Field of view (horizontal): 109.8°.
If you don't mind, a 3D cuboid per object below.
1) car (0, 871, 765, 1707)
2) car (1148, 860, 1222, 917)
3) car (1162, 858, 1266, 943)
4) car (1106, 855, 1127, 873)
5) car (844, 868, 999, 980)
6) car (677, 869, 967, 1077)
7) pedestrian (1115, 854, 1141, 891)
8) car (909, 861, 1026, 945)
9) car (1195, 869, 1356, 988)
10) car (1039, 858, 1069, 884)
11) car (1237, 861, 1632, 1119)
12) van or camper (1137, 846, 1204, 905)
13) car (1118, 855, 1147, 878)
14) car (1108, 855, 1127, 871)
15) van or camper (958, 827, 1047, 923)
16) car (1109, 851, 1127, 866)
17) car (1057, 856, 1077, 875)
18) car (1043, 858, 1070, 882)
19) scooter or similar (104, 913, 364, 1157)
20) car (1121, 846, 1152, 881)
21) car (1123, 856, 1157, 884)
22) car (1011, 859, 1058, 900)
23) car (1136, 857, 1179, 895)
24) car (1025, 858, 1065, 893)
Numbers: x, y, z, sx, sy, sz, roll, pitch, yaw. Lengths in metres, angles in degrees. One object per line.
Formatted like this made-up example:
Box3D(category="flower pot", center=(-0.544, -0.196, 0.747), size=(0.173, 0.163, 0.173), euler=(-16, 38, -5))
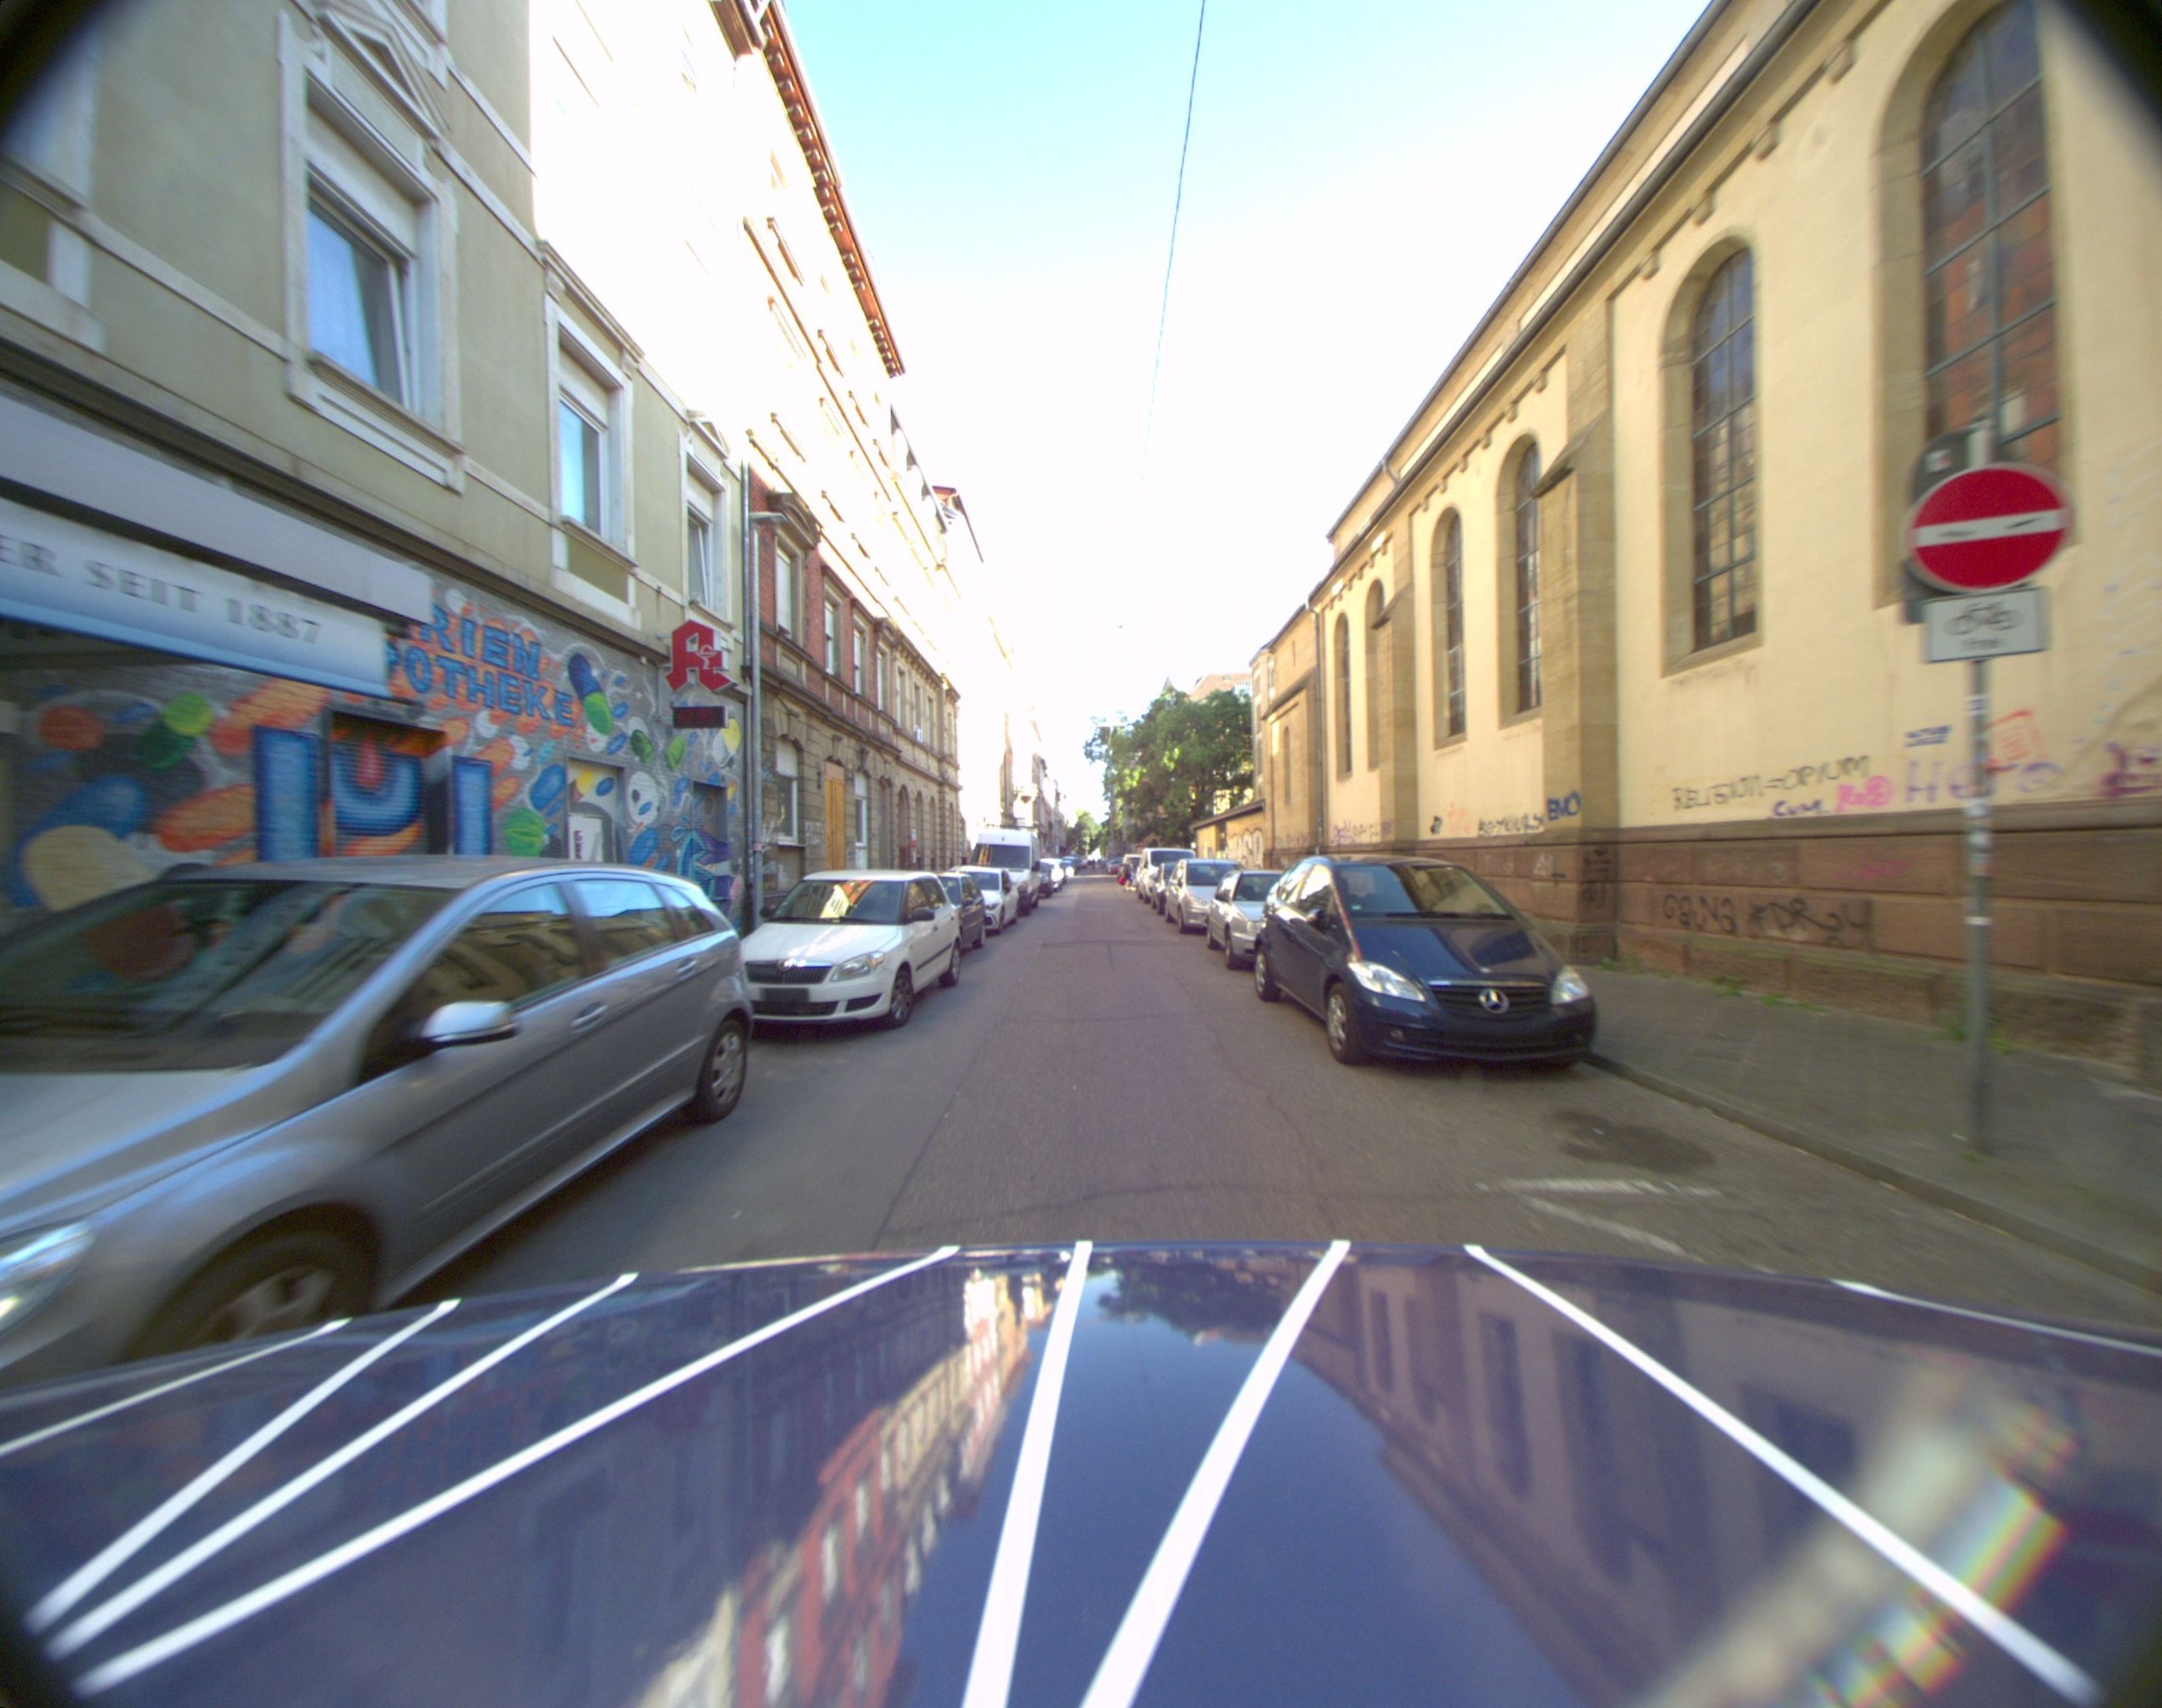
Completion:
Box3D(category="car", center=(-2.983, 0.981, 3.024), size=(1.704, 1.641, 4.063), euler=(-2, 1, 0))
Box3D(category="car", center=(2.970, 0.933, 22.310), size=(1.696, 1.472, 3.737), euler=(-1, 0, 1))
Box3D(category="car", center=(2.845, 0.938, 17.075), size=(1.724, 1.558, 4.000), euler=(-2, 1, 2))
Box3D(category="car", center=(3.389, 0.944, 73.609), size=(1.777, 1.614, 4.022), euler=(-1, 0, 0))
Box3D(category="car", center=(-2.554, 1.067, 13.083), size=(1.590, 1.478, 3.913), euler=(-2, 1, 3))
Box3D(category="car", center=(-2.410, 1.005, 8.231), size=(1.558, 1.517, 4.200), euler=(-2, 1, 1))
Box3D(category="pedestrian", center=(2.269, 0.894, 36.356), size=(0.827, 1.703, 0.876), euler=(-3, 0, 32))
Box3D(category="car", center=(-2.578, 1.062, 18.397), size=(1.998, 1.637, 4.563), euler=(-2, 1, 1))
Box3D(category="car", center=(2.800, 0.993, 11.801), size=(1.576, 1.356, 4.146), euler=(-2, 1, 2))
Box3D(category="car", center=(-1.718, 1.070, 49.650), size=(1.696, 1.615, 3.963), euler=(-1, 0, 1))
Box3D(category="car", center=(2.672, 0.899, 6.814), size=(1.798, 1.543, 3.834), euler=(-2, 1, 1))
Box3D(category="van or camper", center=(3.193, 0.727, 27.909), size=(1.984, 1.939, 4.563), euler=(-1, 0, 1))
Box3D(category="car", center=(3.689, 0.871, 55.098), size=(1.777, 1.614, 4.022), euler=(-1, 0, 0))
Box3D(category="car", center=(3.746, 0.890, 78.260), size=(1.777, 1.614, 4.022), euler=(-1, 0, 0))
Box3D(category="van or camper", center=(-2.324, 0.550, 24.253), size=(1.998, 2.617, 5.979), euler=(-2, 1, 1))
Box3D(category="car", center=(4.122, 0.509, 84.295), size=(1.777, 1.614, 4.022), euler=(-1, 0, 0))
Box3D(category="car", center=(-1.260, 1.066, 71.103), size=(1.696, 1.615, 3.963), euler=(-1, 0, 1))
Box3D(category="car", center=(-1.717, 1.125, 54.785), size=(1.696, 1.615, 3.963), euler=(-1, 0, 1))
Box3D(category="scooter or similar", center=(-5.241, 1.057, 4.780), size=(0.396, 1.272, 1.037), euler=(-2, 1, 1))
Box3D(category="car", center=(3.559, 0.615, 49.621), size=(1.777, 2.128, 4.023), euler=(-1, 0, 1))
Box3D(category="car", center=(3.397, 0.896, 44.255), size=(1.696, 1.529, 3.813), euler=(-1, 0, 1))
Box3D(category="car", center=(-1.973, 1.053, 33.220), size=(1.696, 1.615, 3.813), euler=(-1, 0, 1))
Box3D(category="car", center=(3.411, 0.949, 34.410), size=(1.653, 1.557, 3.641), euler=(-1, 0, 1))
Box3D(category="car", center=(-1.765, 1.042, 38.629), size=(1.696, 1.615, 3.963), euler=(-1, 0, 1))
